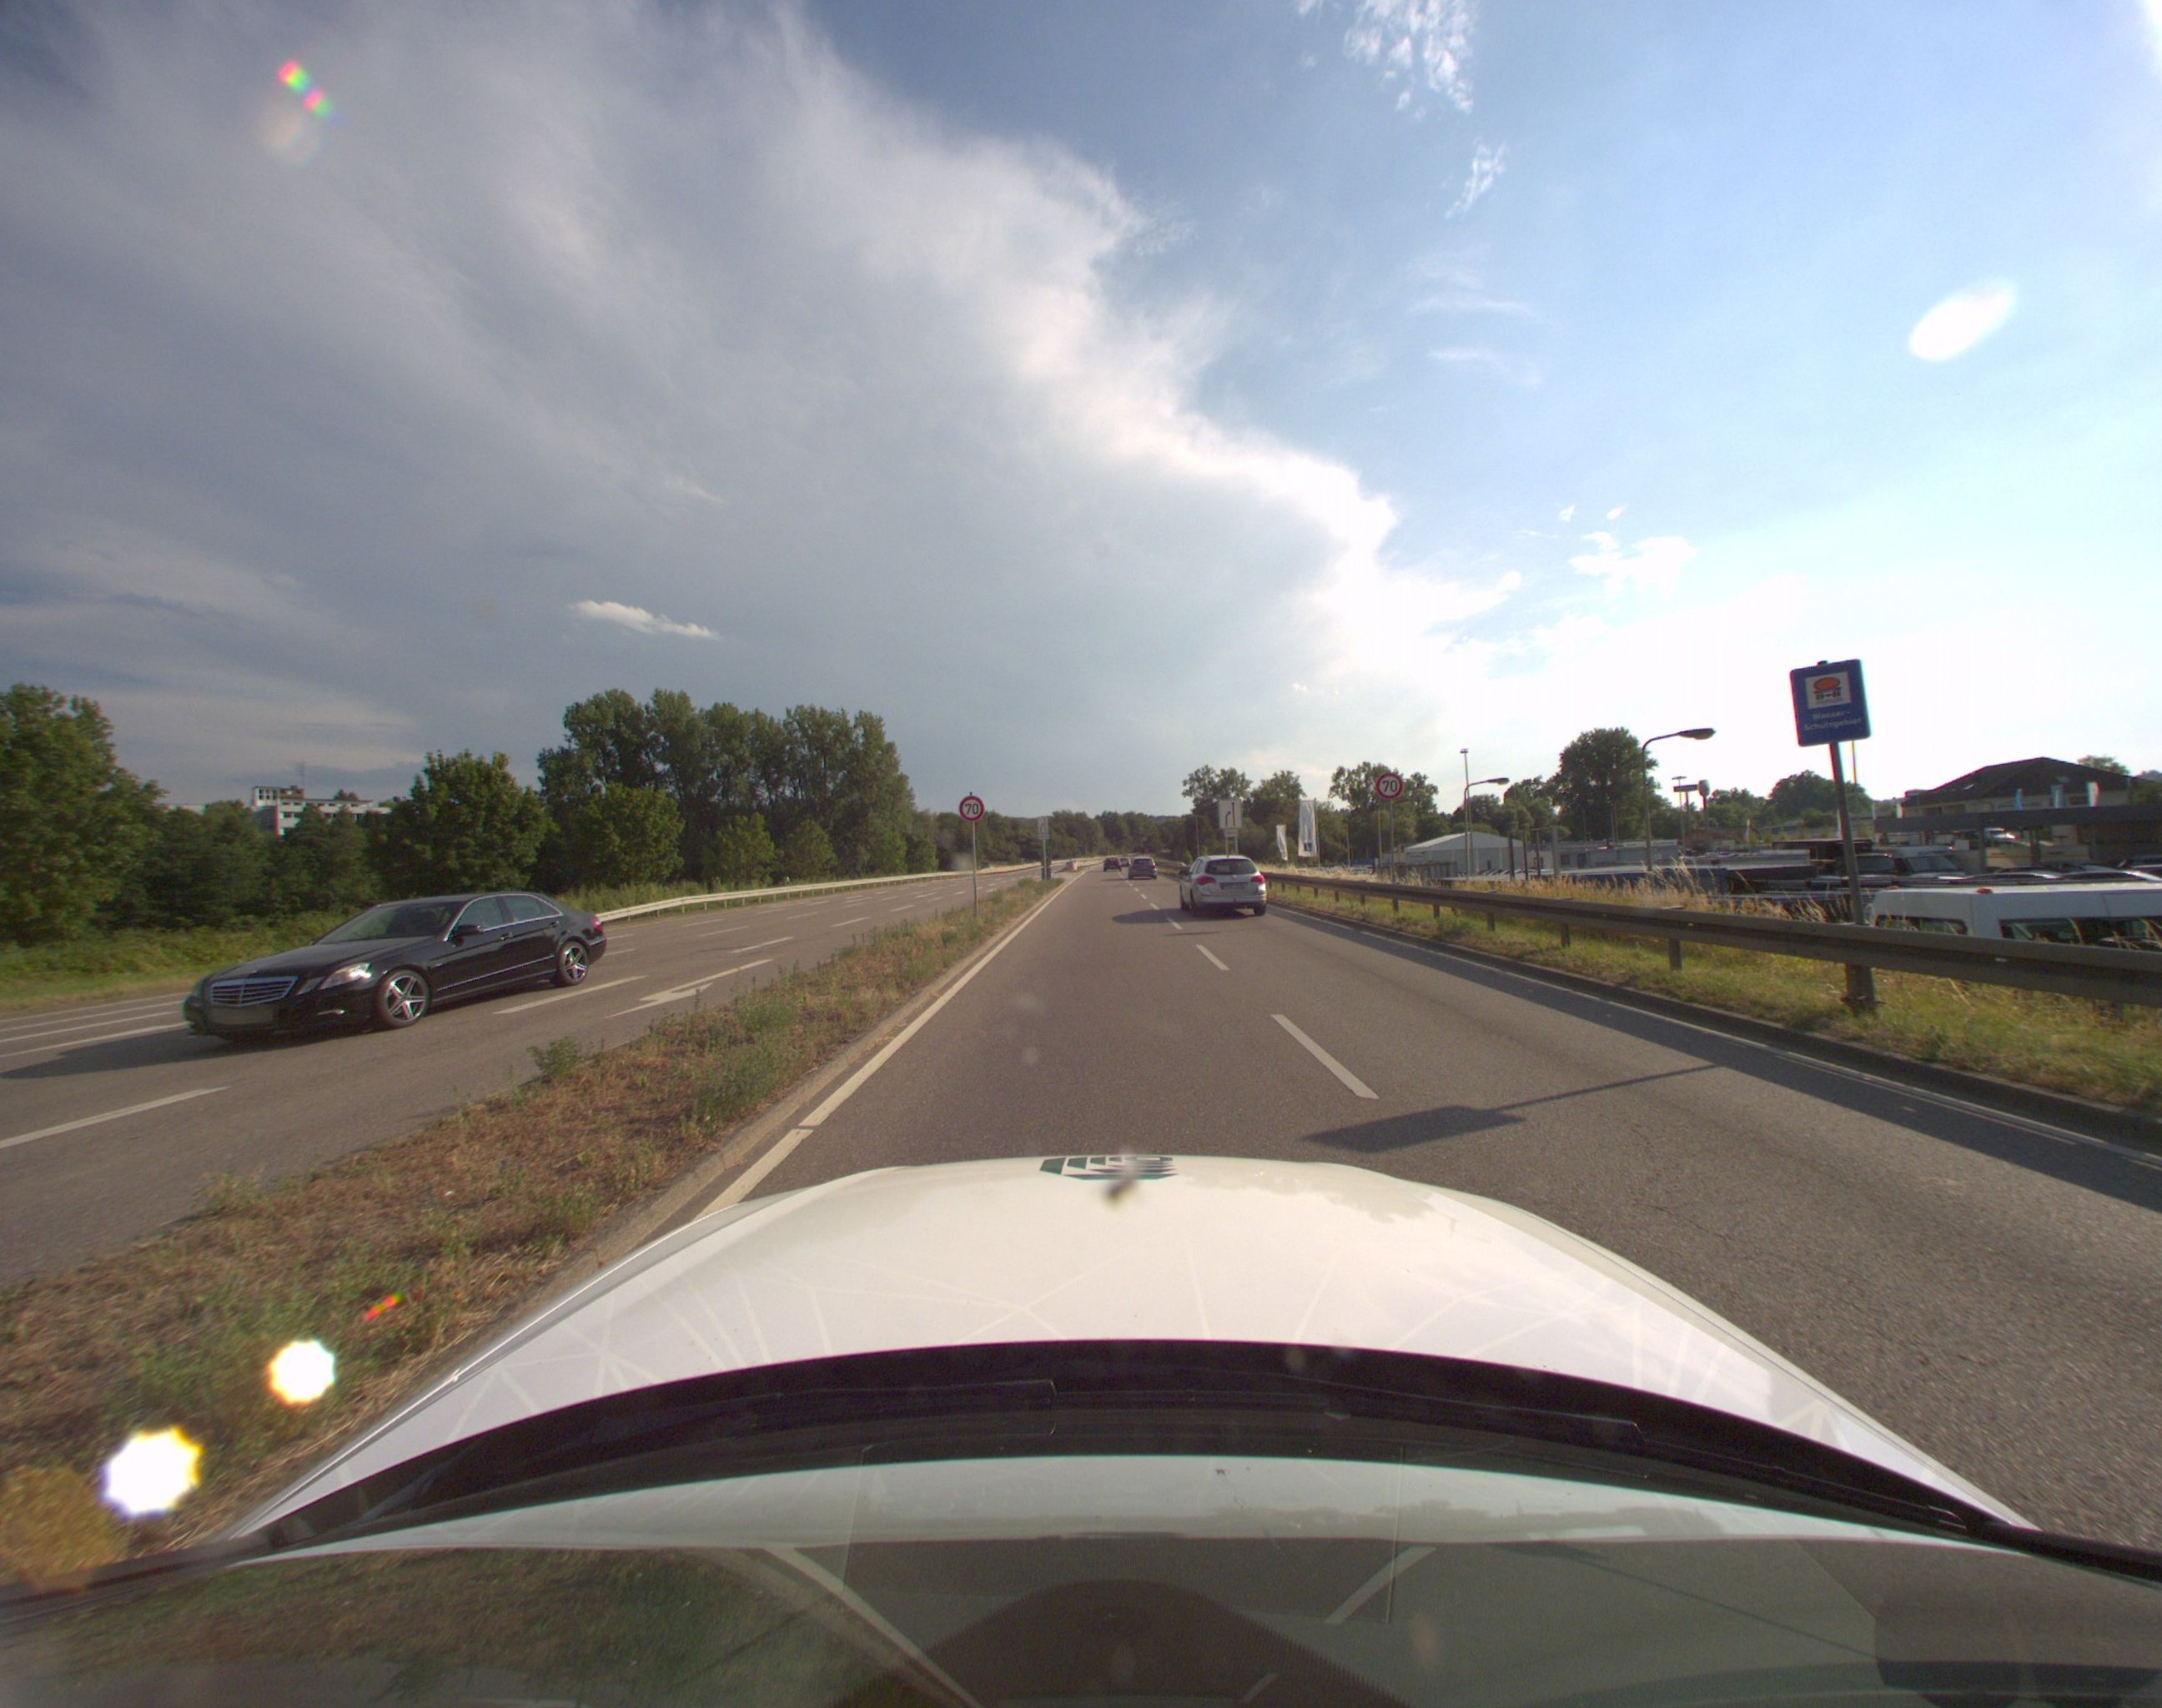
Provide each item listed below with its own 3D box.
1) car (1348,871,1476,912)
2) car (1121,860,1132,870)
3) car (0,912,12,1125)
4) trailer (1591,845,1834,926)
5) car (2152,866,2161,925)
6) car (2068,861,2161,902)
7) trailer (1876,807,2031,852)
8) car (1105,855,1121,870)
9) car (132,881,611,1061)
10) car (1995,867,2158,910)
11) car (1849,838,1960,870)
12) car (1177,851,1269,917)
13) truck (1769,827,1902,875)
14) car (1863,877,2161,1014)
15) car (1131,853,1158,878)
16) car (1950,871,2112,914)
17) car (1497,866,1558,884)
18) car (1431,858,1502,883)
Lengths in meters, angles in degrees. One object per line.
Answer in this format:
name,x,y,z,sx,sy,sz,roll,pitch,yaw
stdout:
car,17.131,1.948,42.376,5.853,2.014,2.003,-1,-1,5
car,6.402,1.562,114.568,1.486,1.476,3.361,-1,-1,3
car,-8.417,1.190,3.586,1.696,1.473,4.245,-4,-1,1
trailer,27.520,1.364,35.903,7.838,3.323,3.364,-1,-1,6
car,39.012,1.391,27.265,3.618,2.014,1.833,-1,-1,5
car,42.170,1.075,32.135,1.683,1.570,3.746,0,-1,-23
trailer,45.593,-1.203,42.848,1.982,2.022,6.296,-1,-1,8
car,3.175,0.884,80.850,1.486,1.476,3.361,-1,-1,3
car,-8.253,1.213,10.264,1.709,1.464,4.728,-4,0,2
car,39.289,1.329,32.249,1.683,1.570,3.746,0,-1,-23
car,42.984,0.036,42.662,1.785,1.543,4.354,-1,-1,7
car,3.510,0.733,20.783,1.802,1.486,4.002,-1,-1,2
truck,40.273,-0.085,43.726,1.983,2.370,5.979,-1,-1,6
car,14.489,1.280,12.023,3.969,1.816,1.837,-1,-1,4
car,4.075,0.767,52.604,1.660,1.574,4.003,0,-1,3
car,36.689,1.448,31.572,1.683,1.570,3.746,0,-1,-23
car,39.424,1.867,72.029,4.391,1.543,1.805,-1,-1,10
car,28.651,1.241,60.627,4.391,1.714,1.805,-2,-2,10
